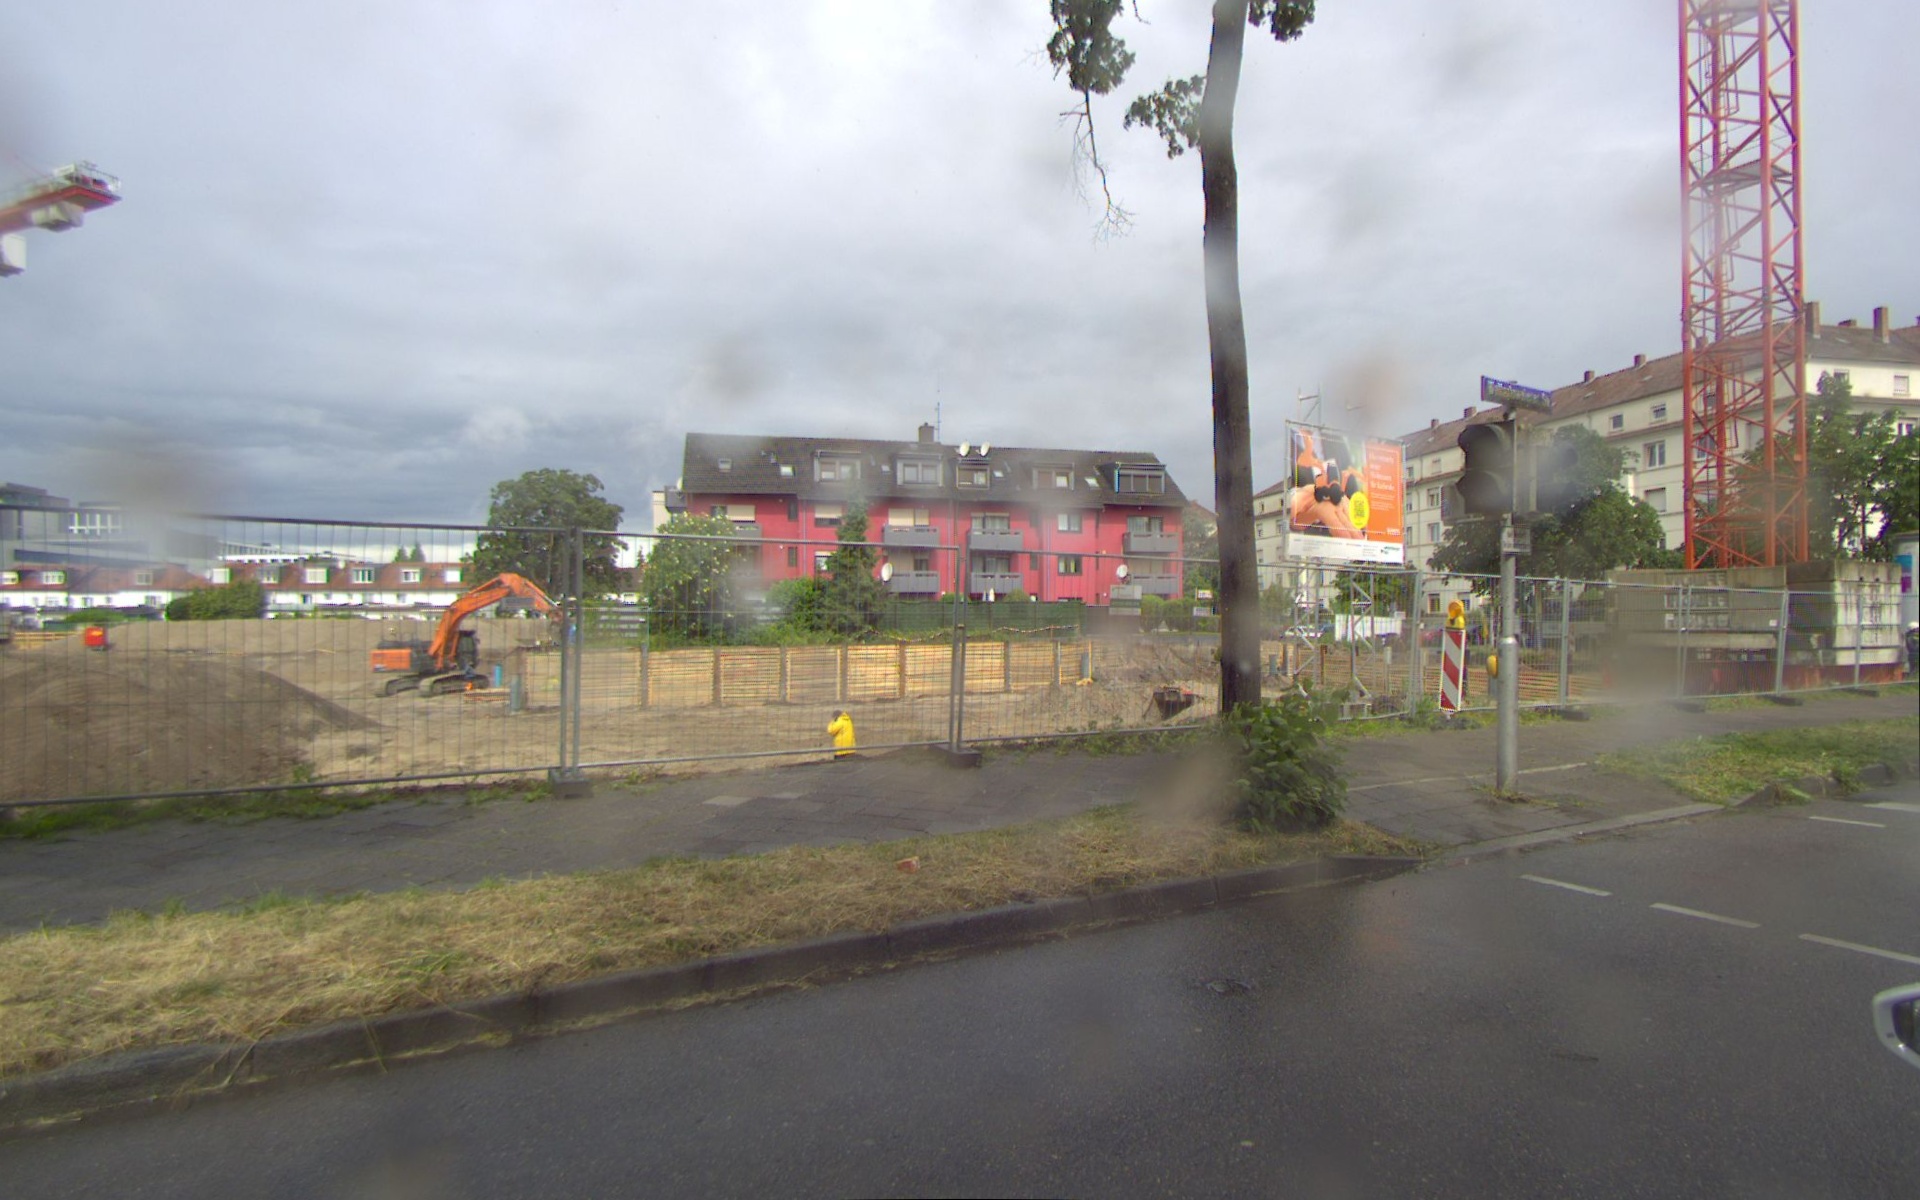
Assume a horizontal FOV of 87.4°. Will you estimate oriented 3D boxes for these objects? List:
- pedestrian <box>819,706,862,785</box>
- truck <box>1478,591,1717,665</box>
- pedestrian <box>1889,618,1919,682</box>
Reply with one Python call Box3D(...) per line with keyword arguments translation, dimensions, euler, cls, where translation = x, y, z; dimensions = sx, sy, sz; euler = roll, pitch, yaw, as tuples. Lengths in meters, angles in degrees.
Box3D(translation=(-2.720, 3.285, 22.844), dimensions=(0.837, 1.706, 0.585), euler=(1, -4, -25), cls="pedestrian")
Box3D(translation=(30.431, 1.405, 48.768), dimensions=(3.729, 3.226, 9.815), euler=(0, -2, -16), cls="truck")
Box3D(translation=(25.021, 1.304, 26.363), dimensions=(0.710, 1.651, 0.684), euler=(1, 0, 23), cls="pedestrian")
